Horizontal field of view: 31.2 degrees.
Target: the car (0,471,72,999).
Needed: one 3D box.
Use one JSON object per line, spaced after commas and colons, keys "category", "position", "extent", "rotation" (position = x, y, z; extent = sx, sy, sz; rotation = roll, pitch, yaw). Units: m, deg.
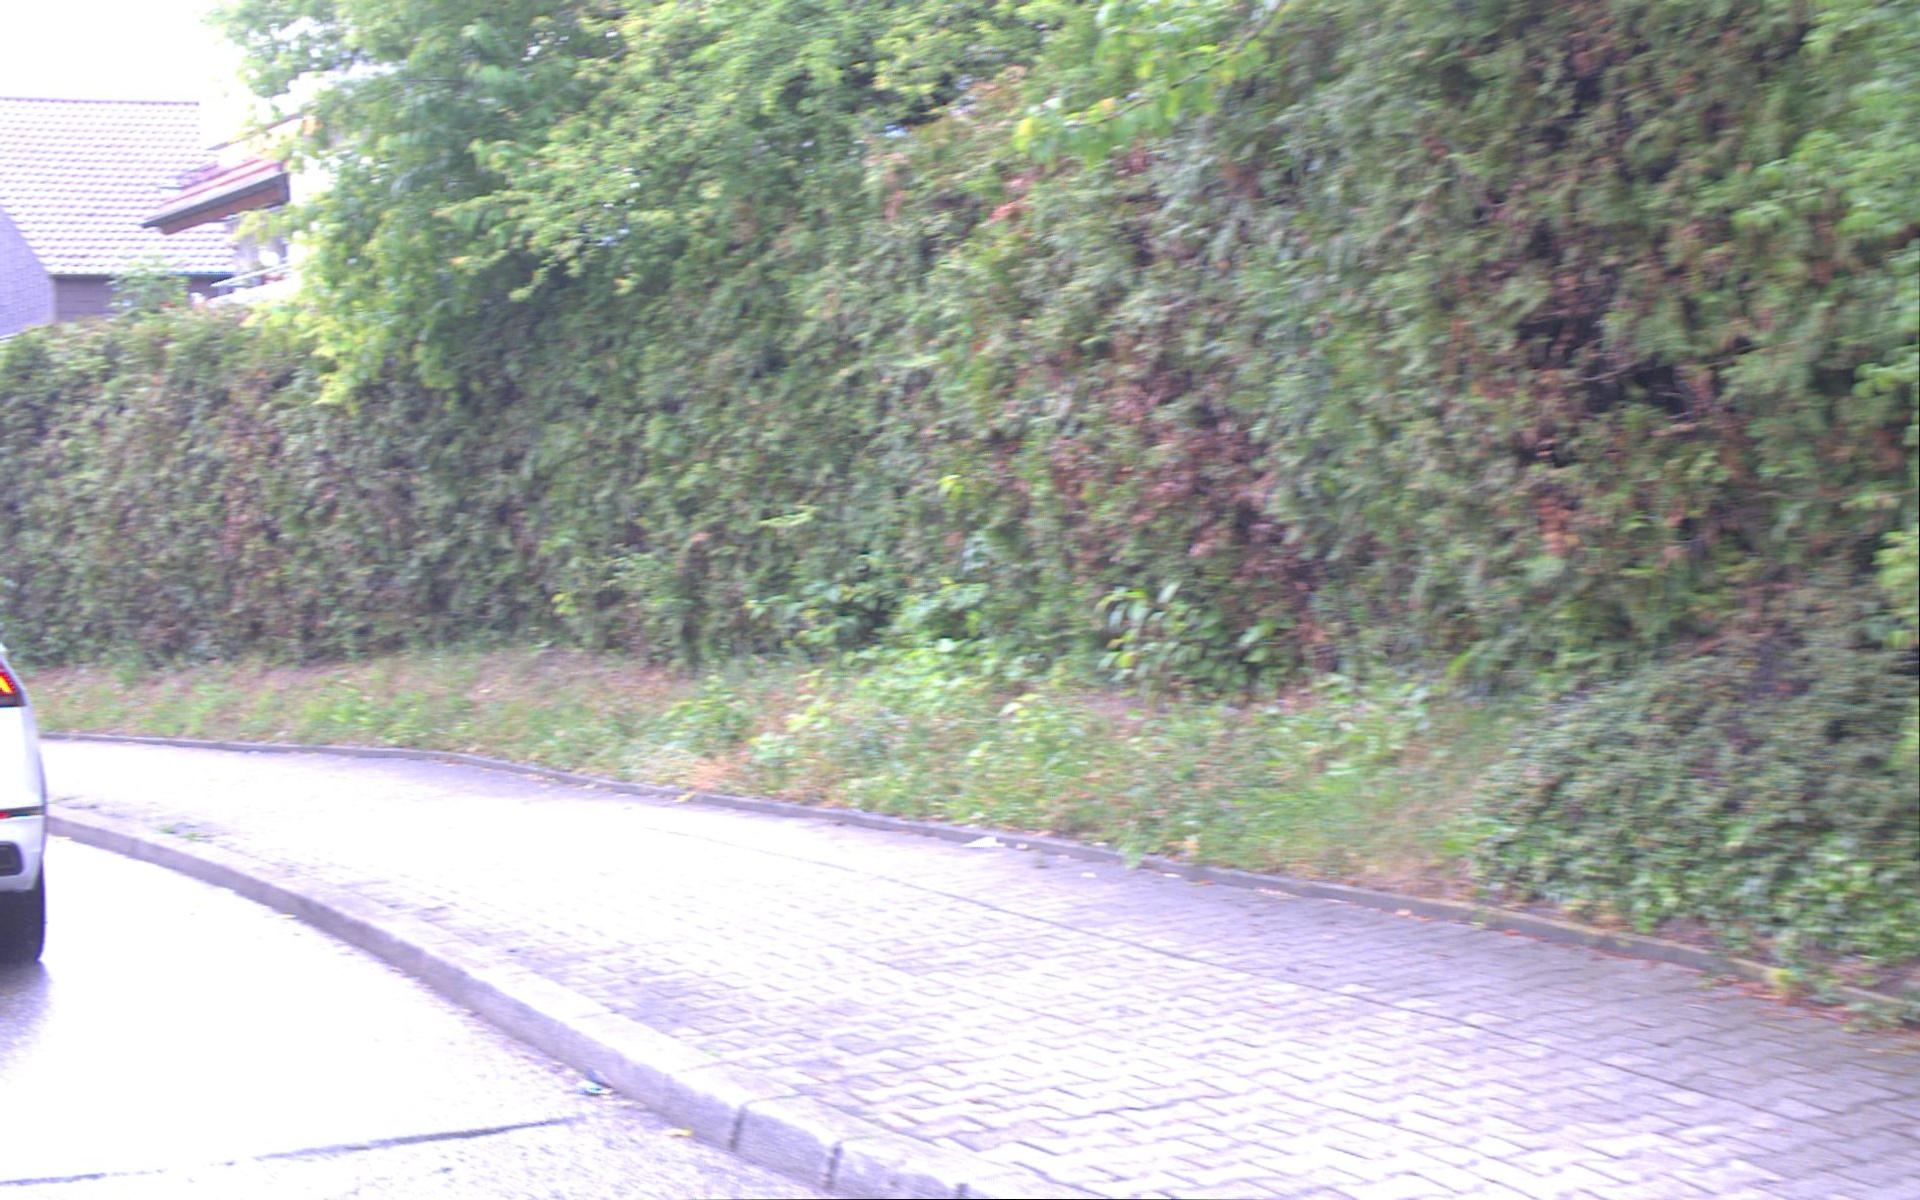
{"category": "car", "position": [-4.608, 0.486, 12.927], "extent": [1.920, 1.716, 4.266], "rotation": [-2, 0, -21]}
